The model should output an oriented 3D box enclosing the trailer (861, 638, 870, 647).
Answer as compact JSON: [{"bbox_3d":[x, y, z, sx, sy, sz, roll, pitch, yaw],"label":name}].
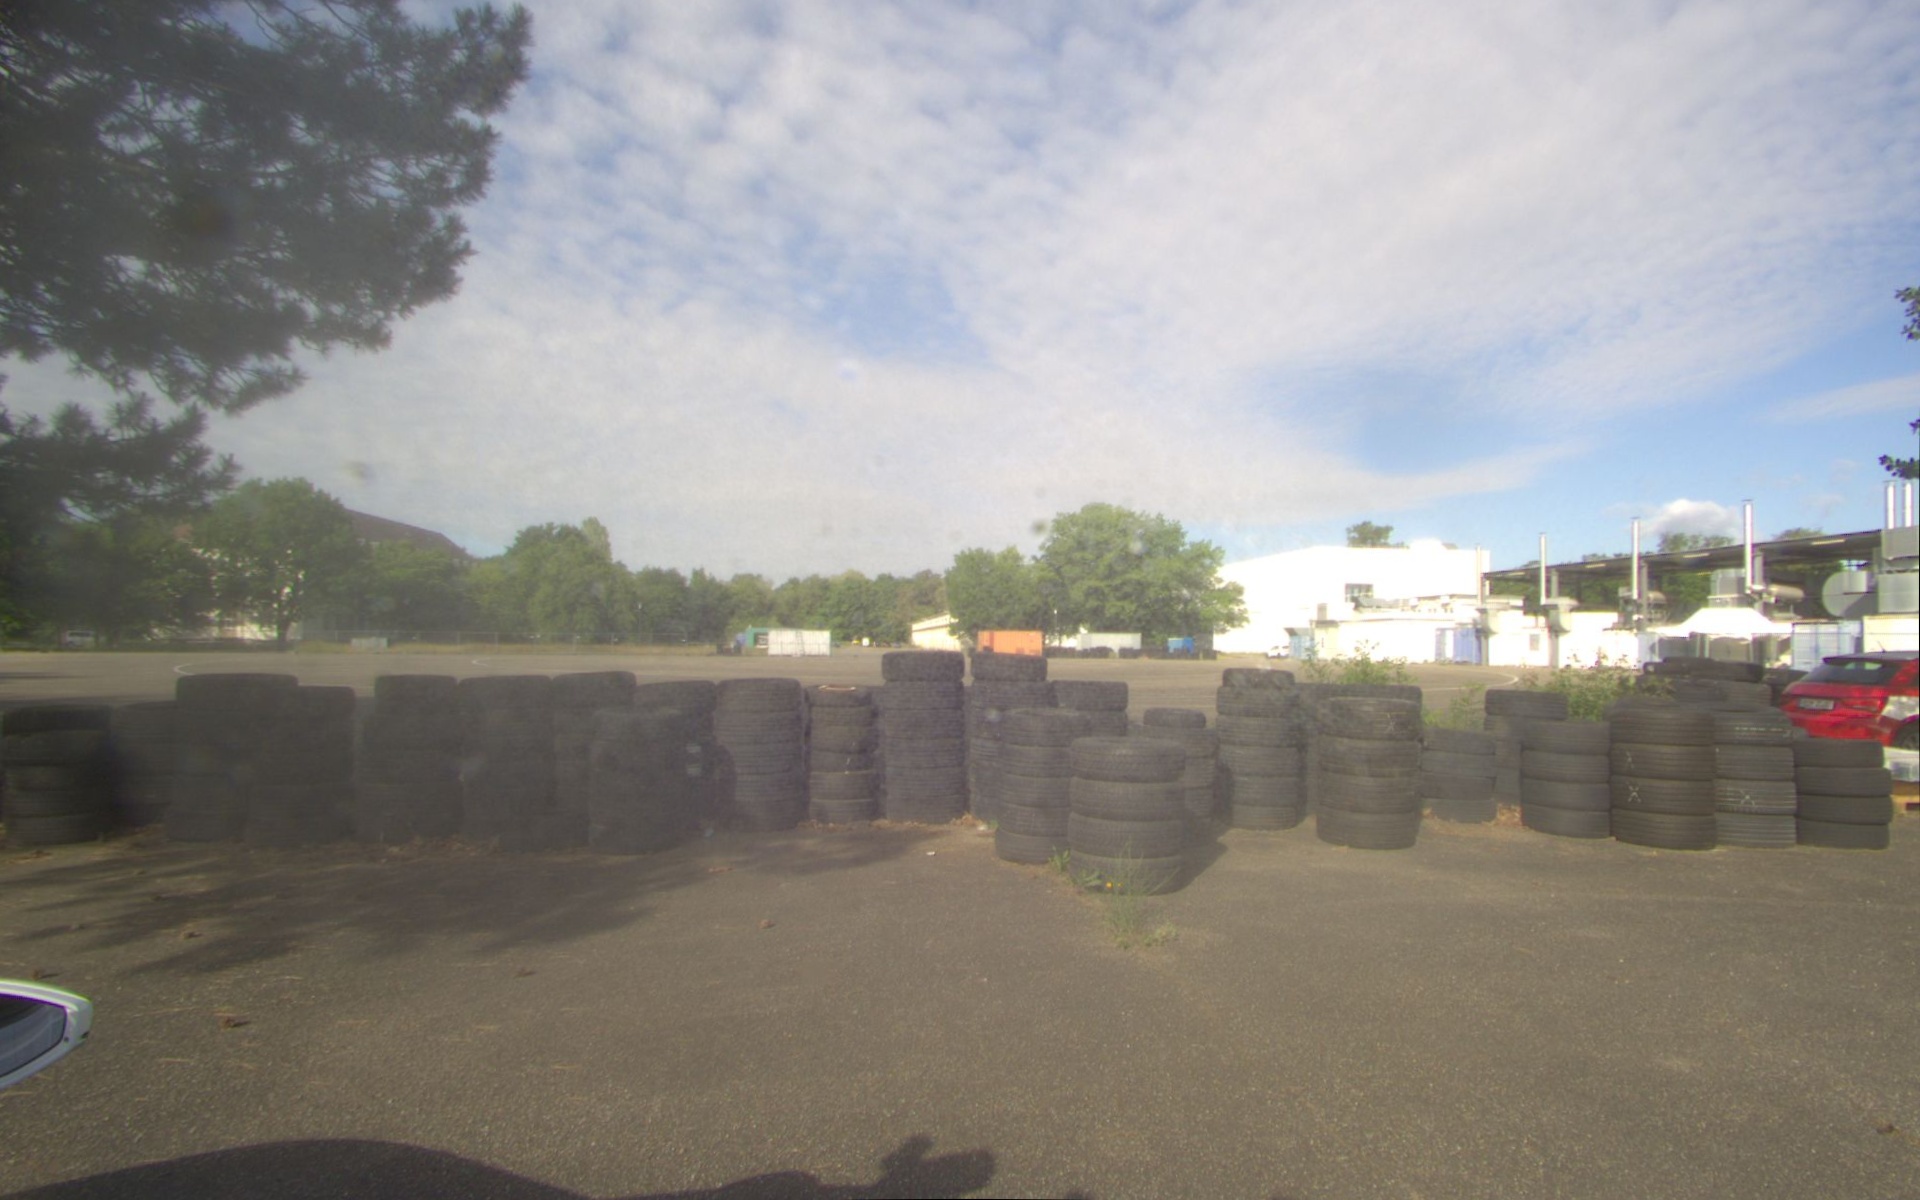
[{"bbox_3d":[-23.288,10.492,247.118,2.025,2.039,4.000,1,-2,-8],"label":"trailer"}]

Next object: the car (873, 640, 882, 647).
[{"bbox_3d":[-20.297,10.613,245.821,1.962,1.772,4.000,1,-2,-9],"label":"car"}]

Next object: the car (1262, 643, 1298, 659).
[{"bbox_3d":[33.762,5.343,105.687,1.839,1.584,4.547,1,-2,-8],"label":"car"}]

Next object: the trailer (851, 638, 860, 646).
[{"bbox_3d":[-25.851,10.454,248.159,1.962,2.039,4.000,1,-2,-8],"label":"trailer"}]

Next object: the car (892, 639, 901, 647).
[{"bbox_3d":[-15.618,10.576,246.575,1.962,1.772,4.000,1,-2,-9],"label":"car"}]

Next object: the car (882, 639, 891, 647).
[{"bbox_3d":[-18.100,10.629,246.274,1.999,1.831,3.999,1,-2,-9],"label":"car"}]

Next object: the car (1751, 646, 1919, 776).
[{"bbox_3d":[12.525,1.358,12.511,3.922,1.482,1.729,1,-2,0],"label":"car"}]
